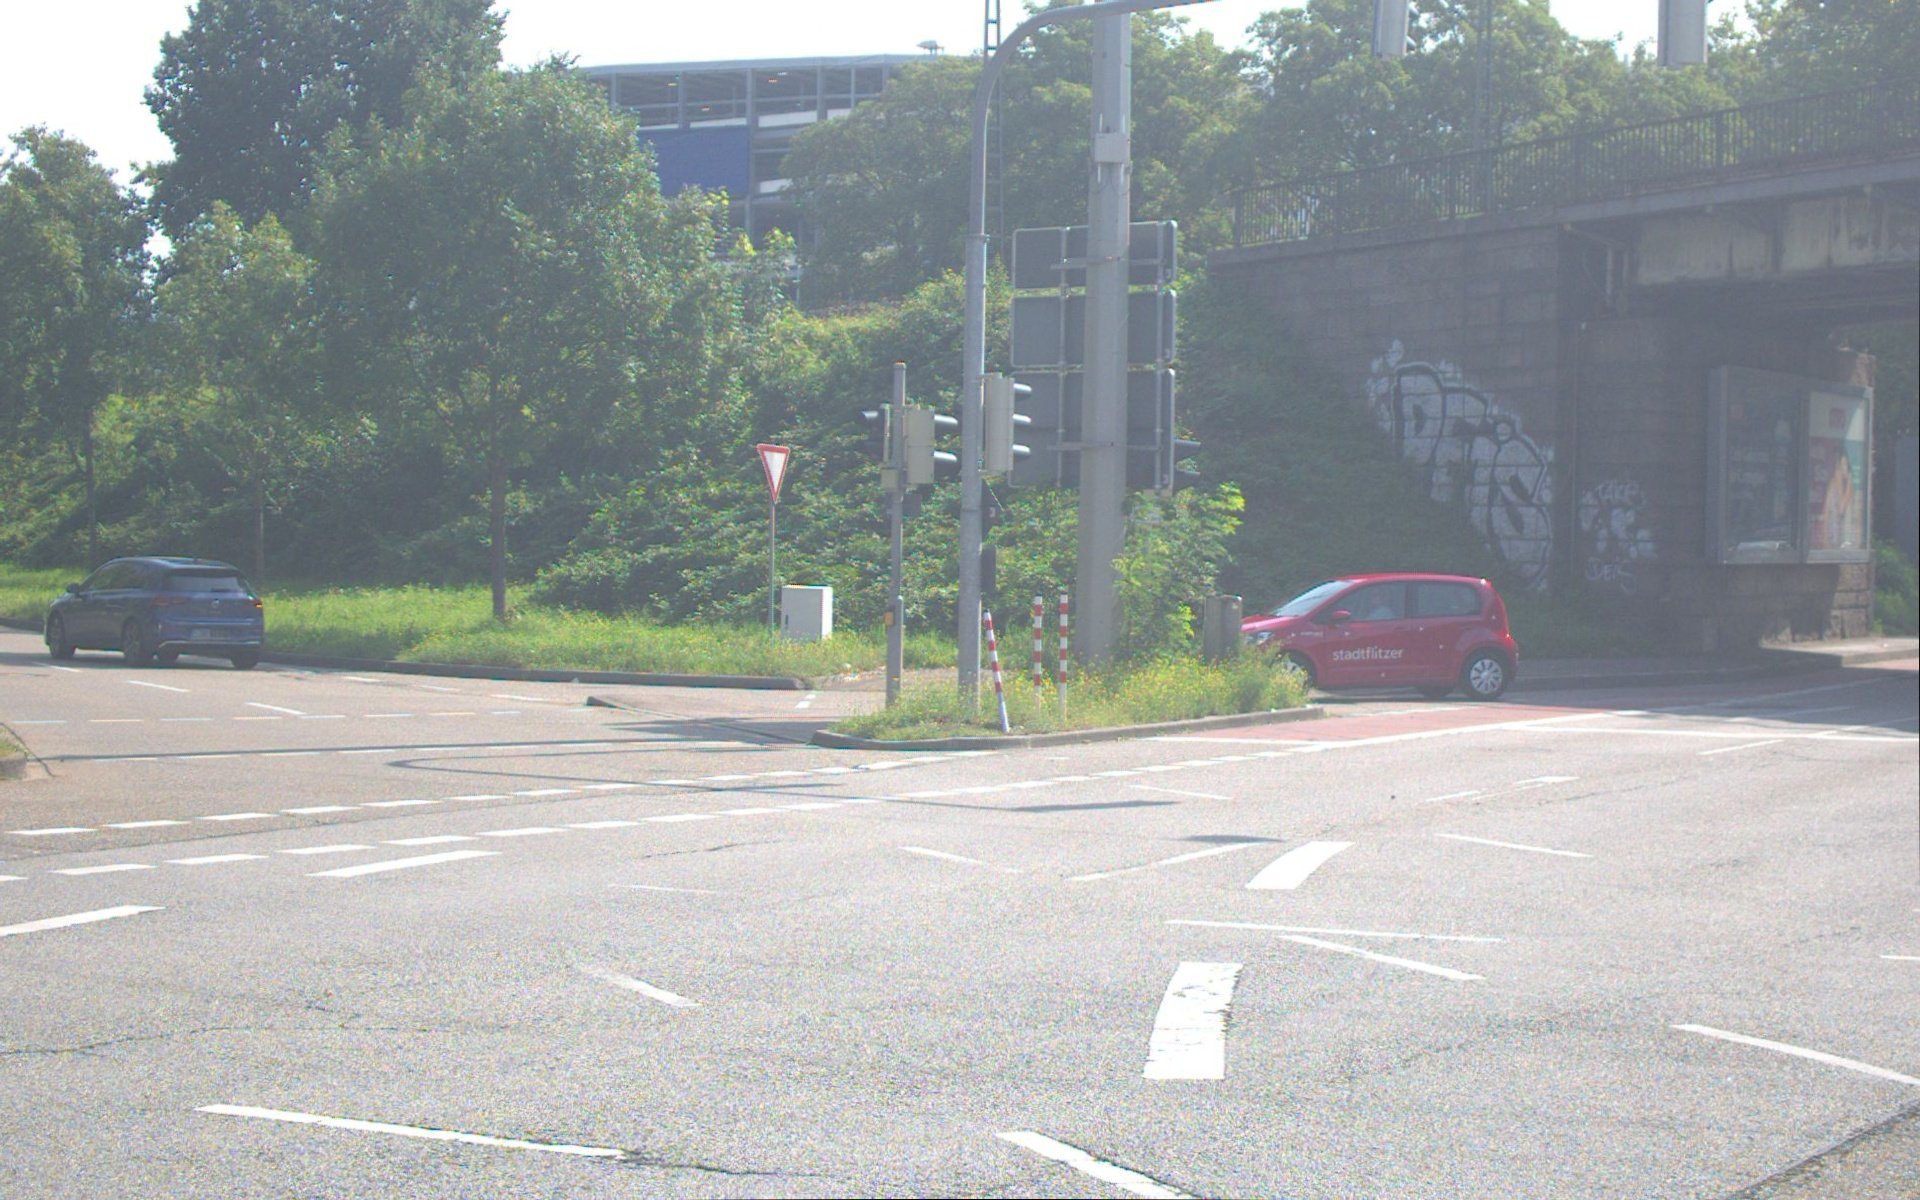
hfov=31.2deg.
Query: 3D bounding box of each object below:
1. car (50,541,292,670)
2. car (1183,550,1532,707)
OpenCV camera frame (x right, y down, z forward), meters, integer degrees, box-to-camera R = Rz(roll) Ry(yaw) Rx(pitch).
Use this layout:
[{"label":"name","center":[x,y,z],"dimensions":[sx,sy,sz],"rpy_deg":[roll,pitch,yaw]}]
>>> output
[{"label":"car","center":[-10.676,0.055,46.327],"dimensions":[1.780,1.423,4.000],"rpy_deg":[1,3,-35]},{"label":"car","center":[4.602,0.325,39.897],"dimensions":[3.541,1.462,1.645],"rpy_deg":[5,2,-18]}]
